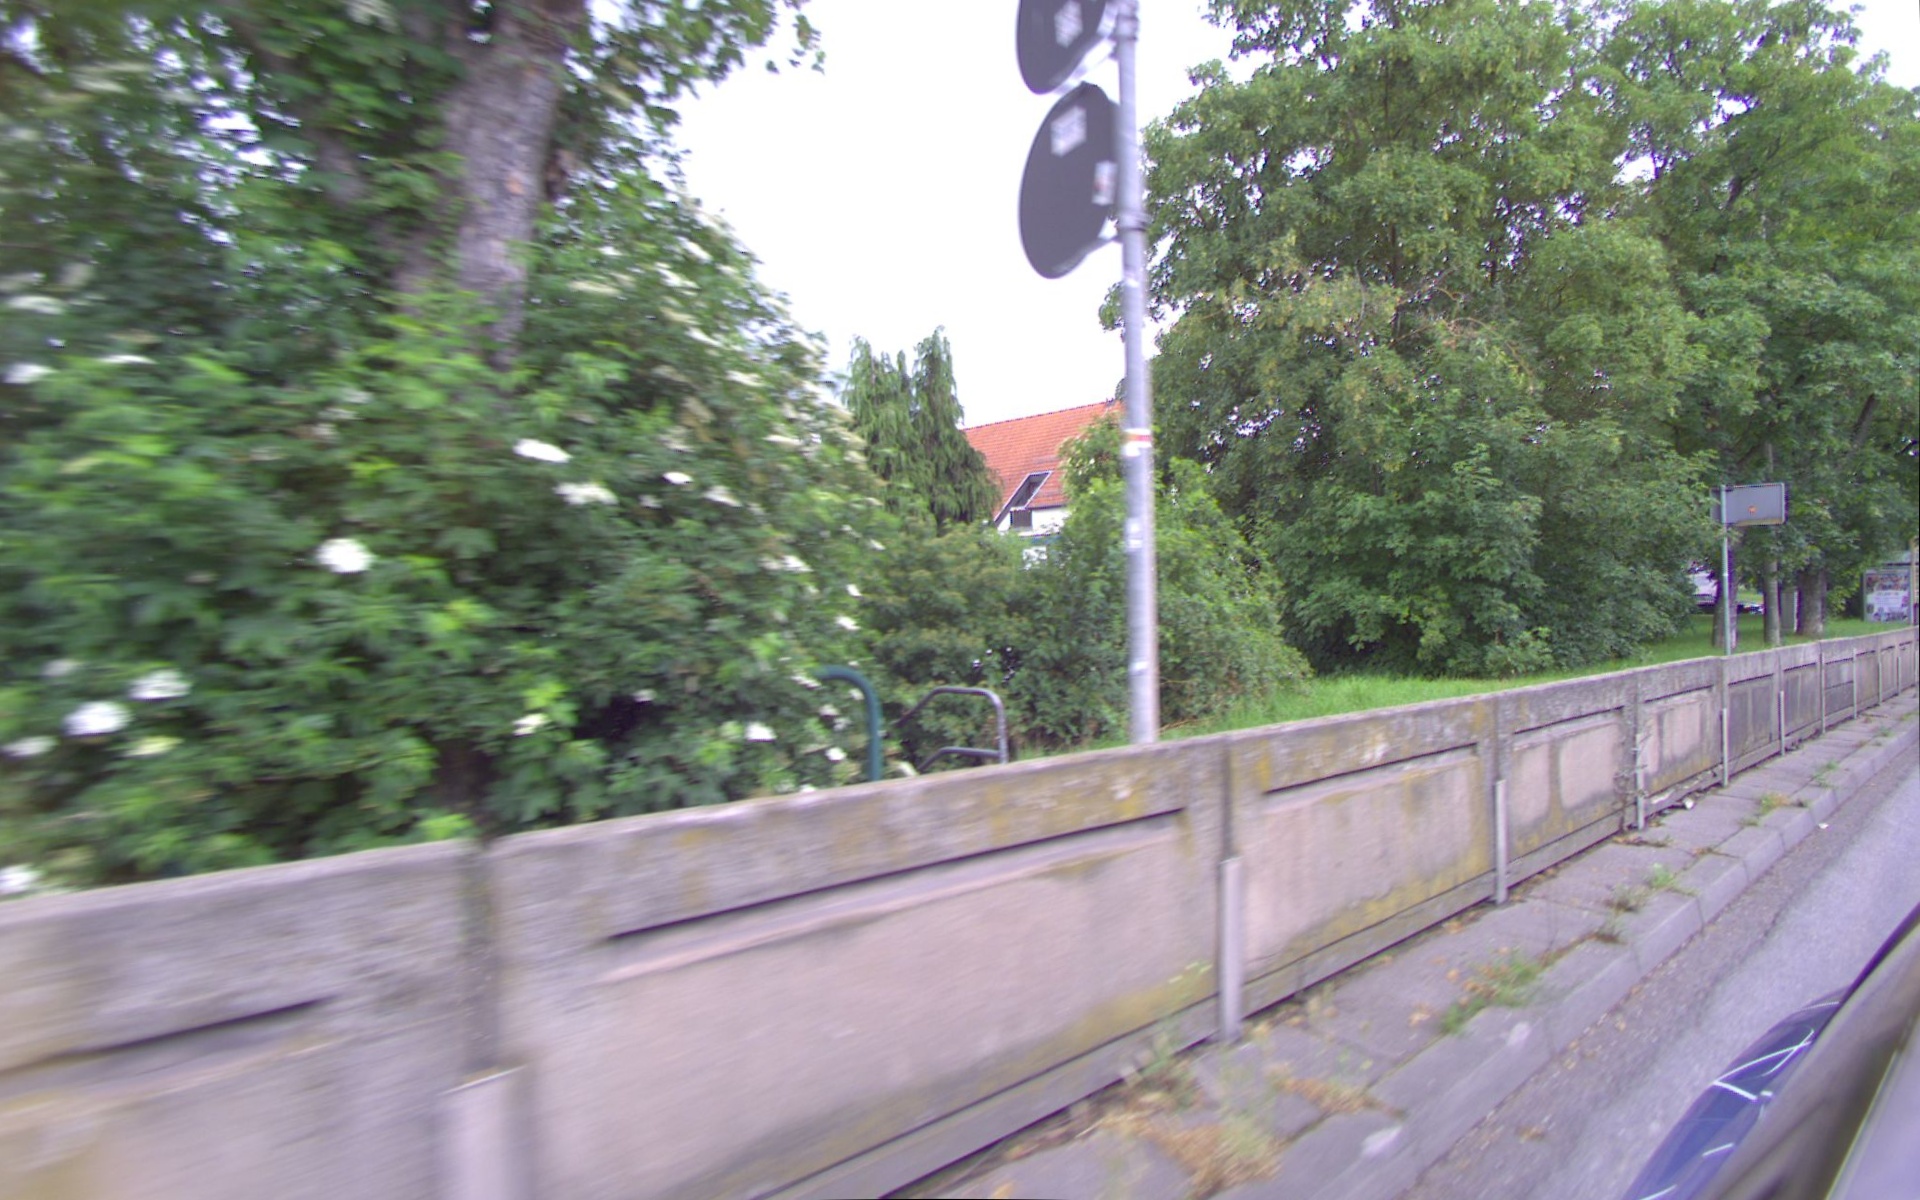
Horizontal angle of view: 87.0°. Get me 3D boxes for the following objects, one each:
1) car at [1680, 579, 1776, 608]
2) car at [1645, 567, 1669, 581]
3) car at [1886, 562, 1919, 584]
[{"bbox_3d":[45.105,-0.403,59.546,1.671,1.544,4.169,-3,2,-32],"label":"car"},{"bbox_3d":[84.052,-3.152,121.968,1.990,1.483,3.943,-3,0,40],"label":"car"},{"bbox_3d":[75.728,-2.123,79.450,4.182,1.718,1.819,0,2,33],"label":"car"}]
